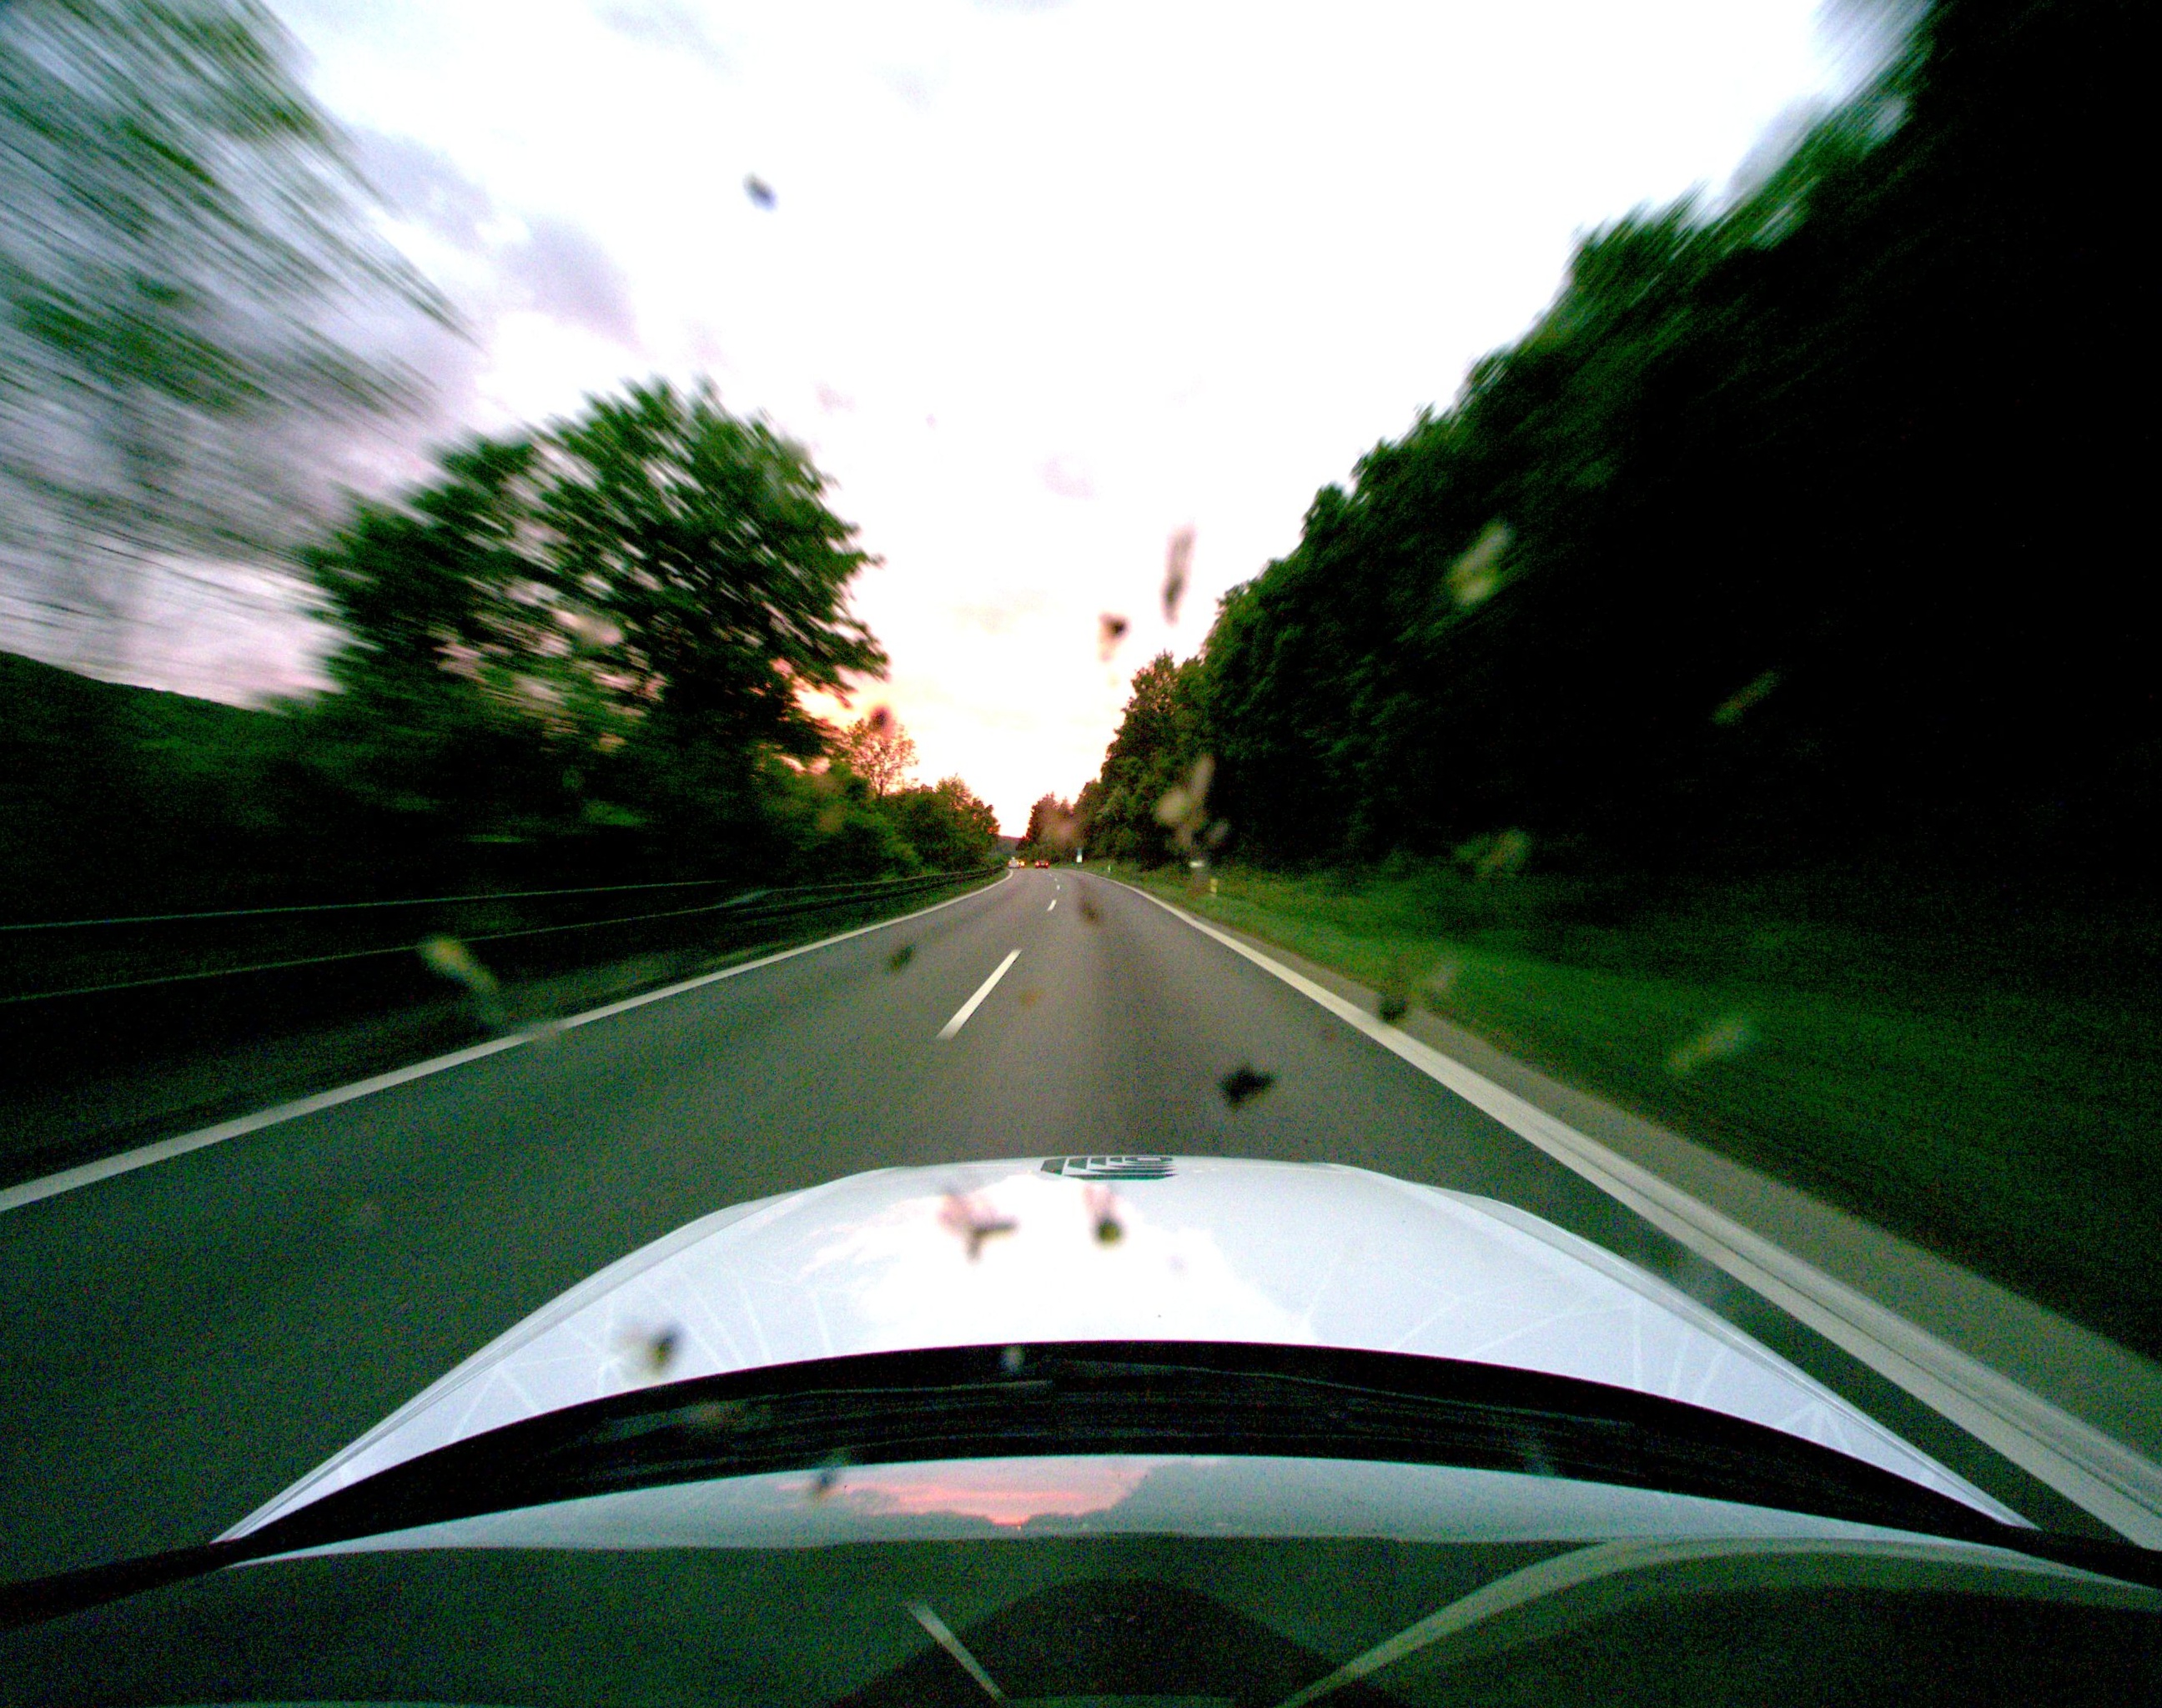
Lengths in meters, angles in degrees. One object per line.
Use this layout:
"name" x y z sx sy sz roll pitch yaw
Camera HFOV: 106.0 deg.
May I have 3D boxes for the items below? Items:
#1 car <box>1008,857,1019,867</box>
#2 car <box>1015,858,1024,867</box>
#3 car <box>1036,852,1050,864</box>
"car" -11.718 1.425 142.052 1.714 1.501 3.995 1 -2 -3
"car" -11.590 1.599 153.580 1.715 1.635 3.993 0 -2 -4
"car" -6.390 0.699 135.468 1.992 1.646 3.989 3 -4 -7
